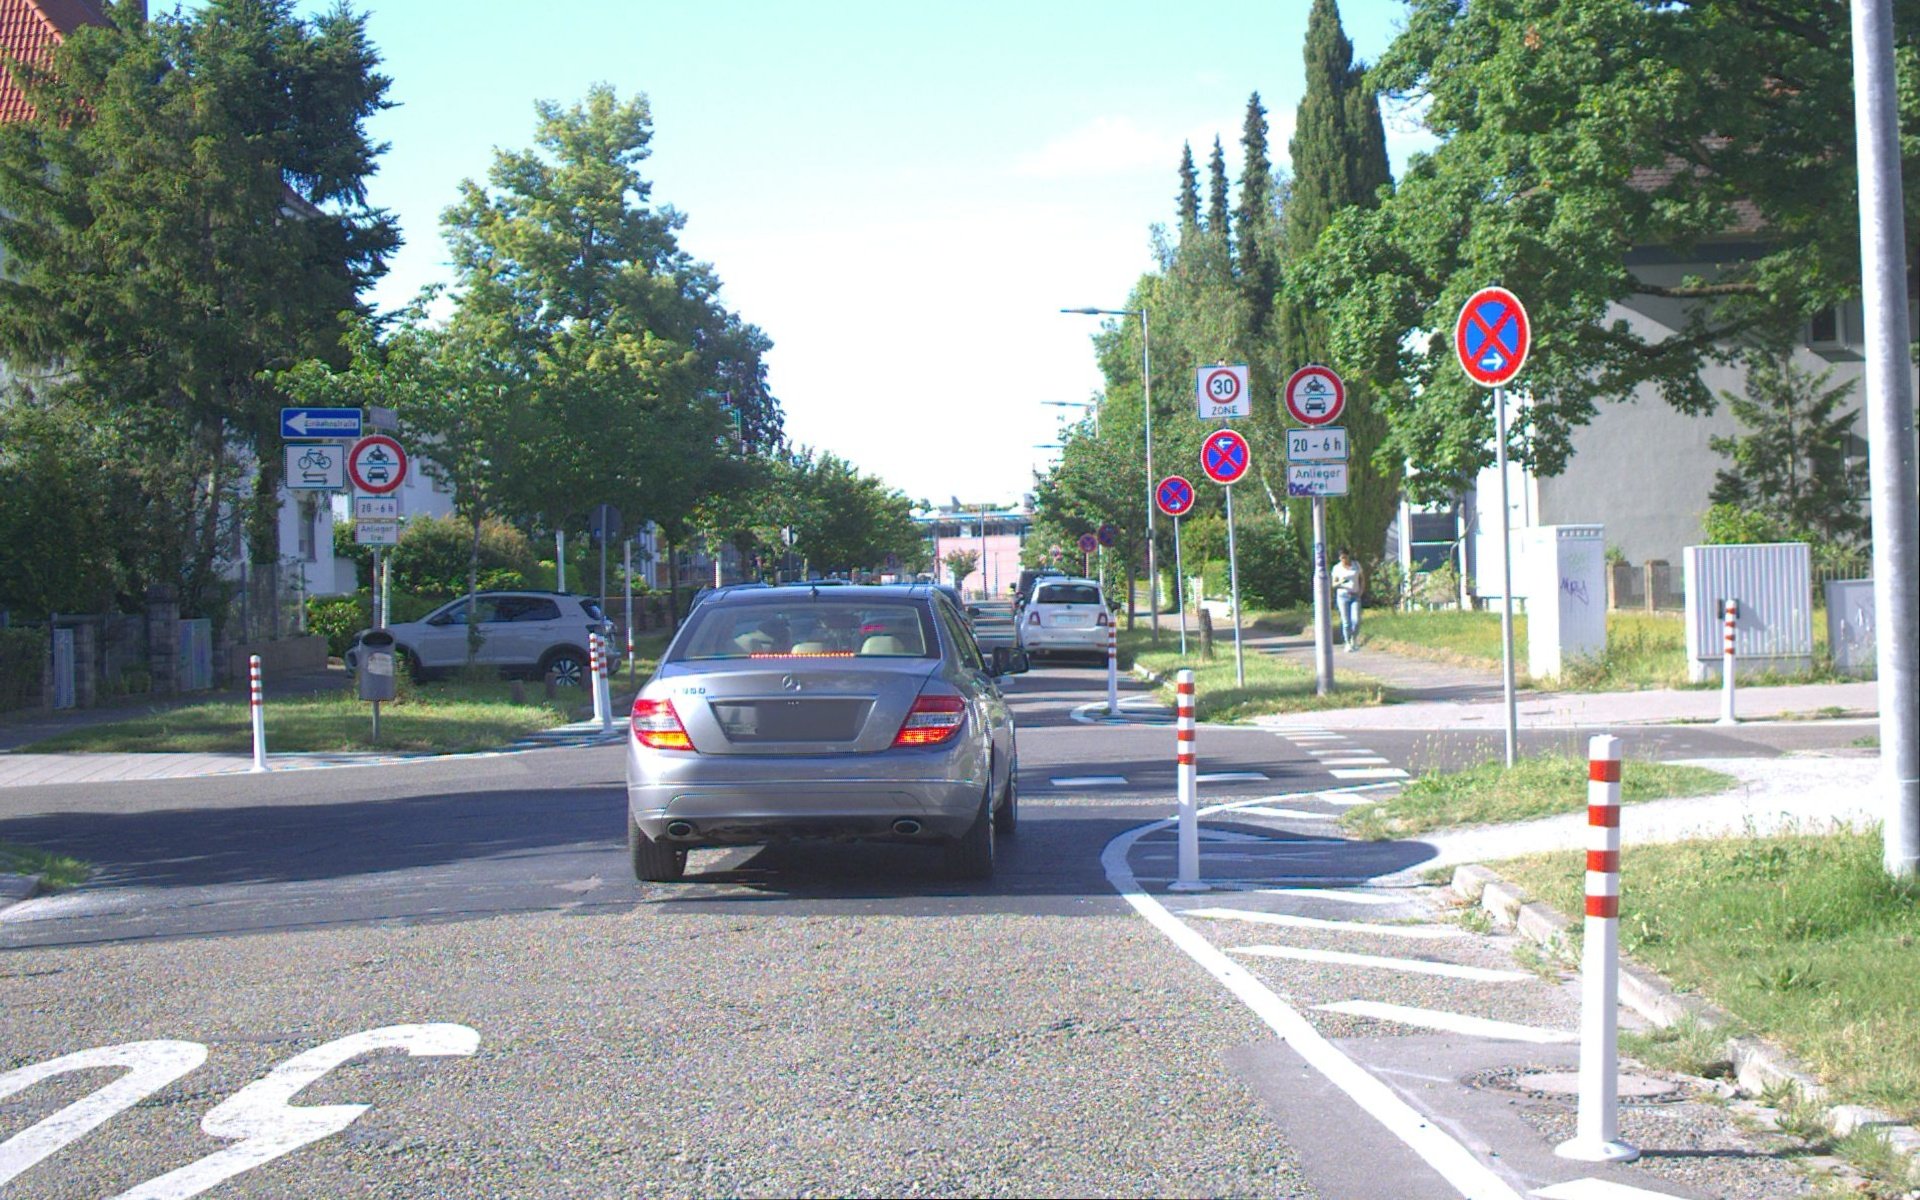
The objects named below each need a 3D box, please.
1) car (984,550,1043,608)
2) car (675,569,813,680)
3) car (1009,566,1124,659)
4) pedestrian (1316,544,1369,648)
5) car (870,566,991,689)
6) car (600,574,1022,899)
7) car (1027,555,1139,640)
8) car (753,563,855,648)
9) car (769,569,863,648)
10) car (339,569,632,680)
[{"bbox_3d":[1.782,-0.711,115.187,1.855,1.835,4.000,-2,1,0],"label":"car"},{"bbox_3d":[-3.553,0.376,57.116,1.993,1.604,4.000,-5,1,-1],"label":"car"},{"bbox_3d":[1.802,0.193,59.336,1.733,1.475,3.725,-2,1,-1],"label":"car"},{"bbox_3d":[6.075,-0.066,54.665,0.766,1.605,0.834,-2,0,6],"label":"pedestrian"},{"bbox_3d":[-0.448,0.355,48.810,1.597,1.604,3.644,-2,1,-1],"label":"car"},{"bbox_3d":[-0.644,0.608,17.629,1.836,1.436,4.000,-1,0,2],"label":"car"},{"bbox_3d":[2.484,-0.074,70.138,1.993,1.604,4.000,-2,1,-1],"label":"car"},{"bbox_3d":[-3.377,0.096,74.924,1.993,1.604,4.000,-5,1,-1],"label":"car"},{"bbox_3d":[-3.357,0.178,80.719,1.993,1.604,4.000,-5,1,-1],"label":"car"},{"bbox_3d":[-7.137,0.360,52.027,4.191,1.558,1.842,-1,0,-2],"label":"car"}]
